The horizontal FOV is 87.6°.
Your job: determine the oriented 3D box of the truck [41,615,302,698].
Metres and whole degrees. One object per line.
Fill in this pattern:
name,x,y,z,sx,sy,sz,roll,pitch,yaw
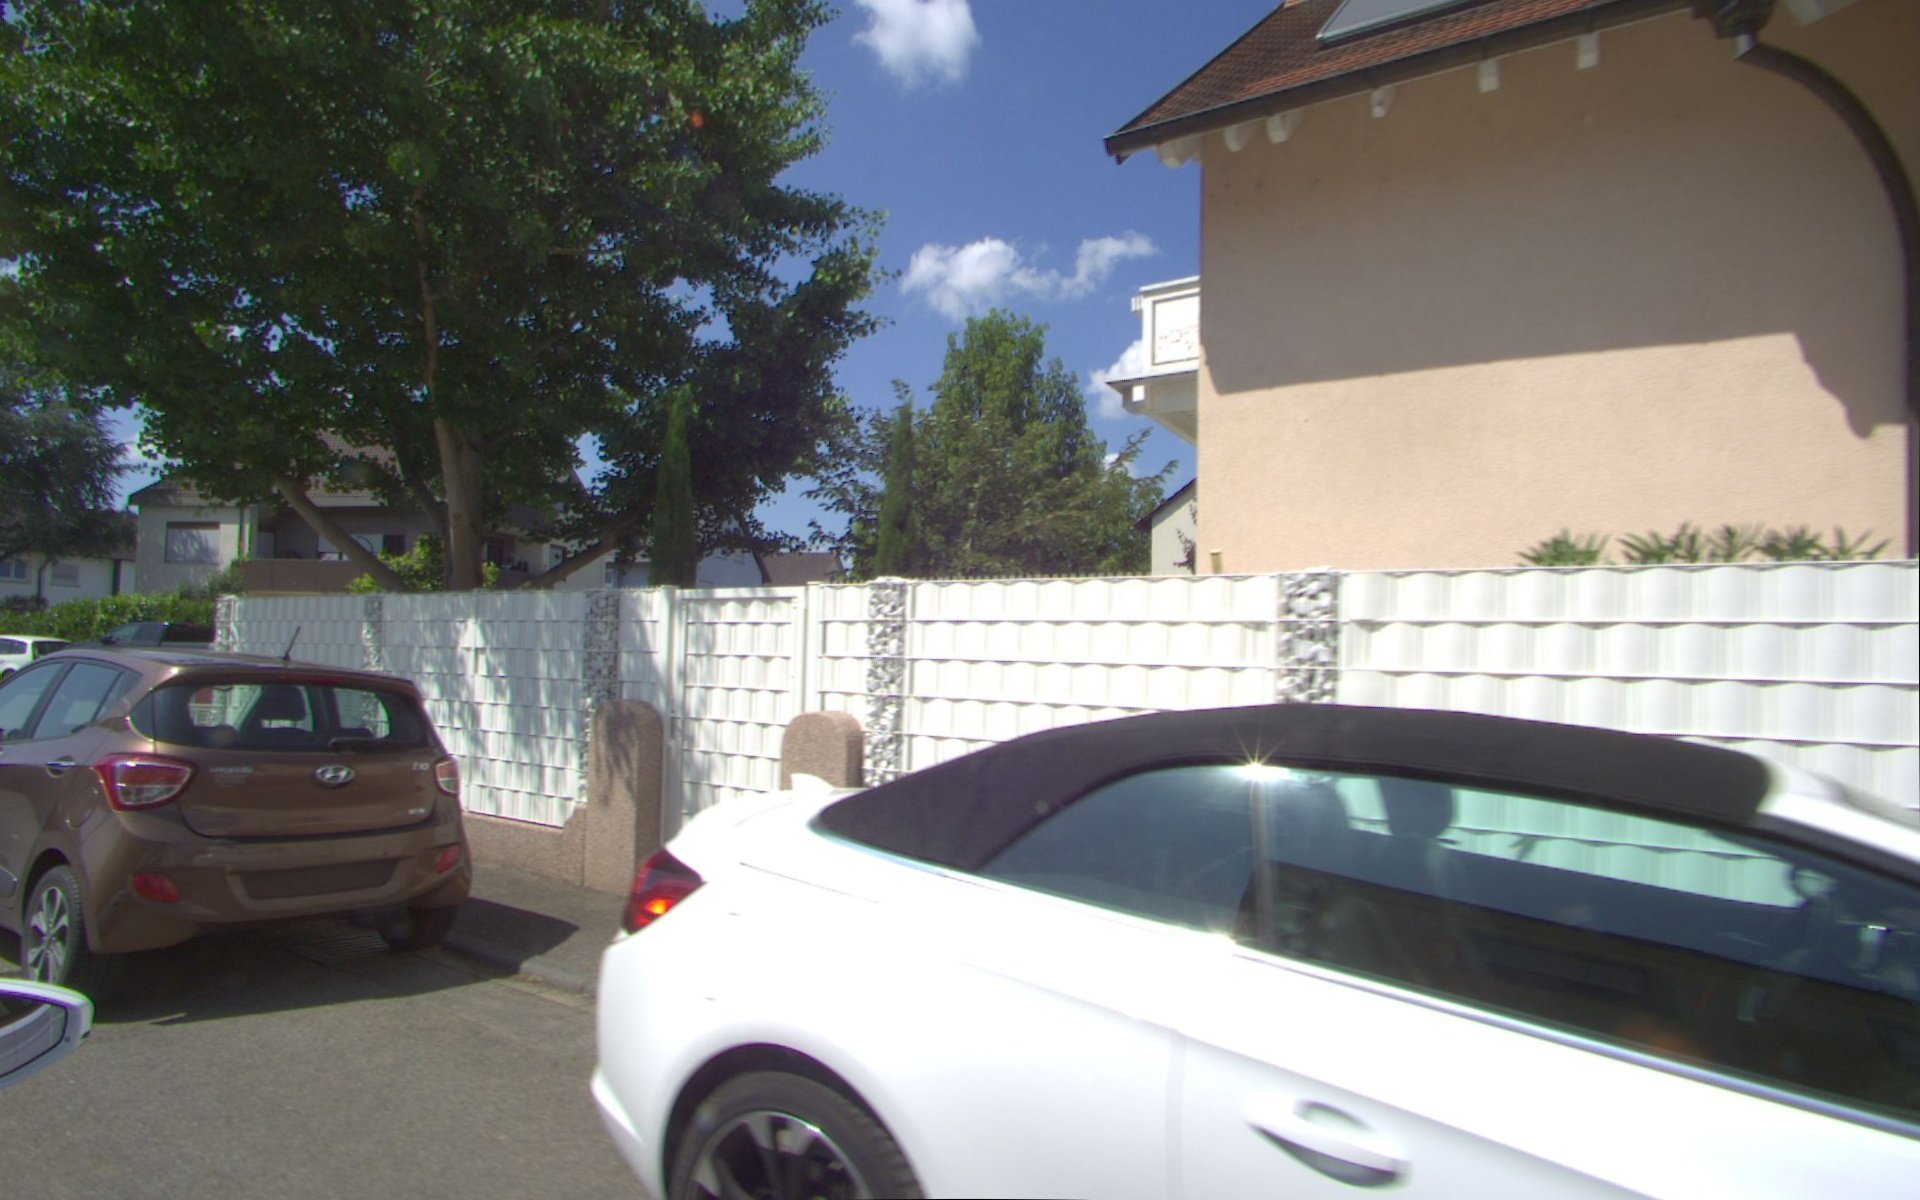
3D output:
truck,-21.815,1.572,27.837,5.602,2.038,2.373,1,-3,8

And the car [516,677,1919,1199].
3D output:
car,1.382,0.962,2.002,4.671,1.446,1.893,-1,-5,33

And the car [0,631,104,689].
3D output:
car,-27.848,1.720,29.426,4.063,1.582,1.805,2,-3,9

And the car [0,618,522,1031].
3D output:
car,-4.511,0.975,5.585,3.976,1.549,1.713,-1,-7,31
